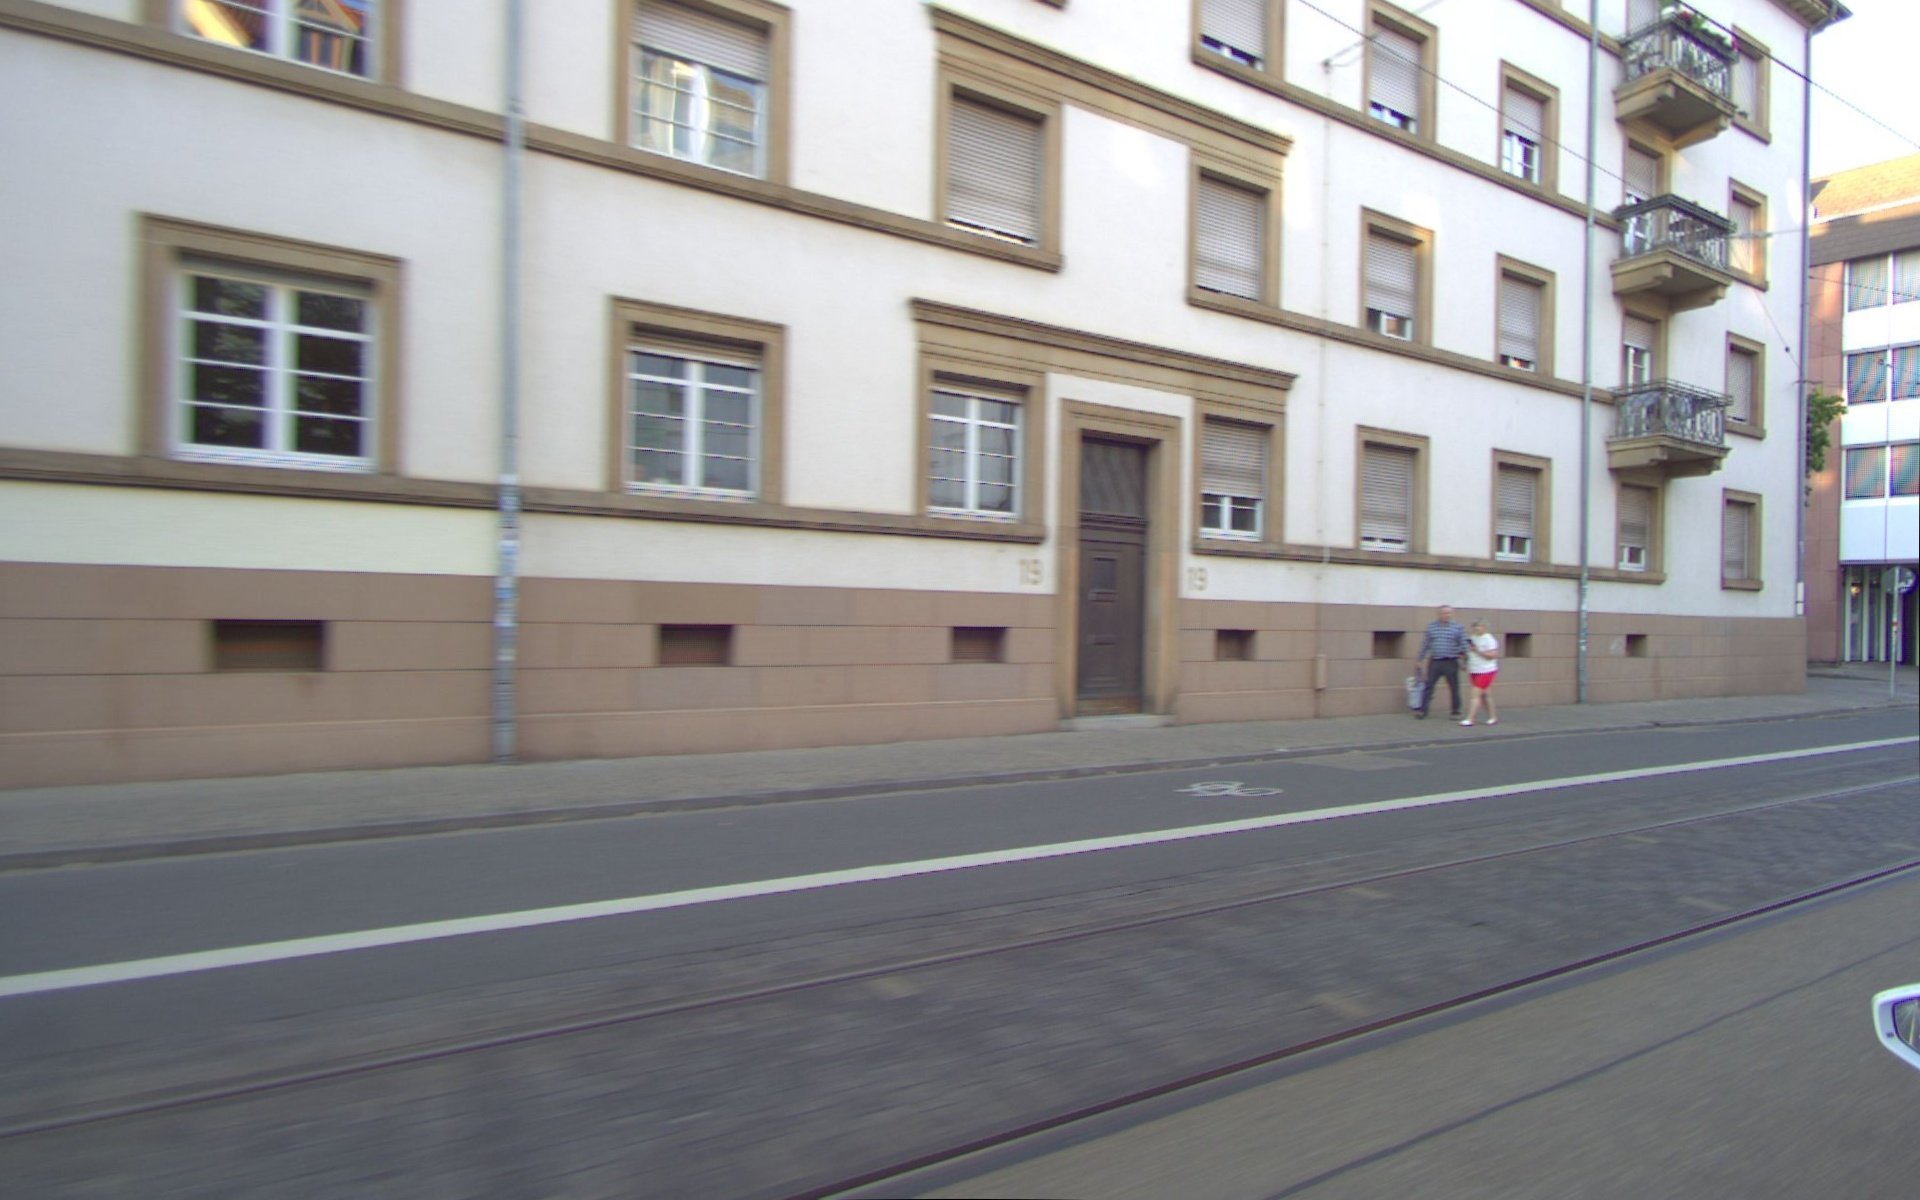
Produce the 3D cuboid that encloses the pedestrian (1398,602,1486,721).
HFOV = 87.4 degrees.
[{"bbox_3d":[7.234,0.897,15.083,0.971,1.724,0.791,1,-1,-33],"label":"pedestrian"}]

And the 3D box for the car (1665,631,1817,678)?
[{"bbox_3d":[27.834,1.928,35.881,1.906,1.524,3.958,3,-3,-37],"label":"car"}]

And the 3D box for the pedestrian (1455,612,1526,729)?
[{"bbox_3d":[7.675,0.995,14.531,0.802,1.631,0.587,1,-1,-33],"label":"pedestrian"}]
